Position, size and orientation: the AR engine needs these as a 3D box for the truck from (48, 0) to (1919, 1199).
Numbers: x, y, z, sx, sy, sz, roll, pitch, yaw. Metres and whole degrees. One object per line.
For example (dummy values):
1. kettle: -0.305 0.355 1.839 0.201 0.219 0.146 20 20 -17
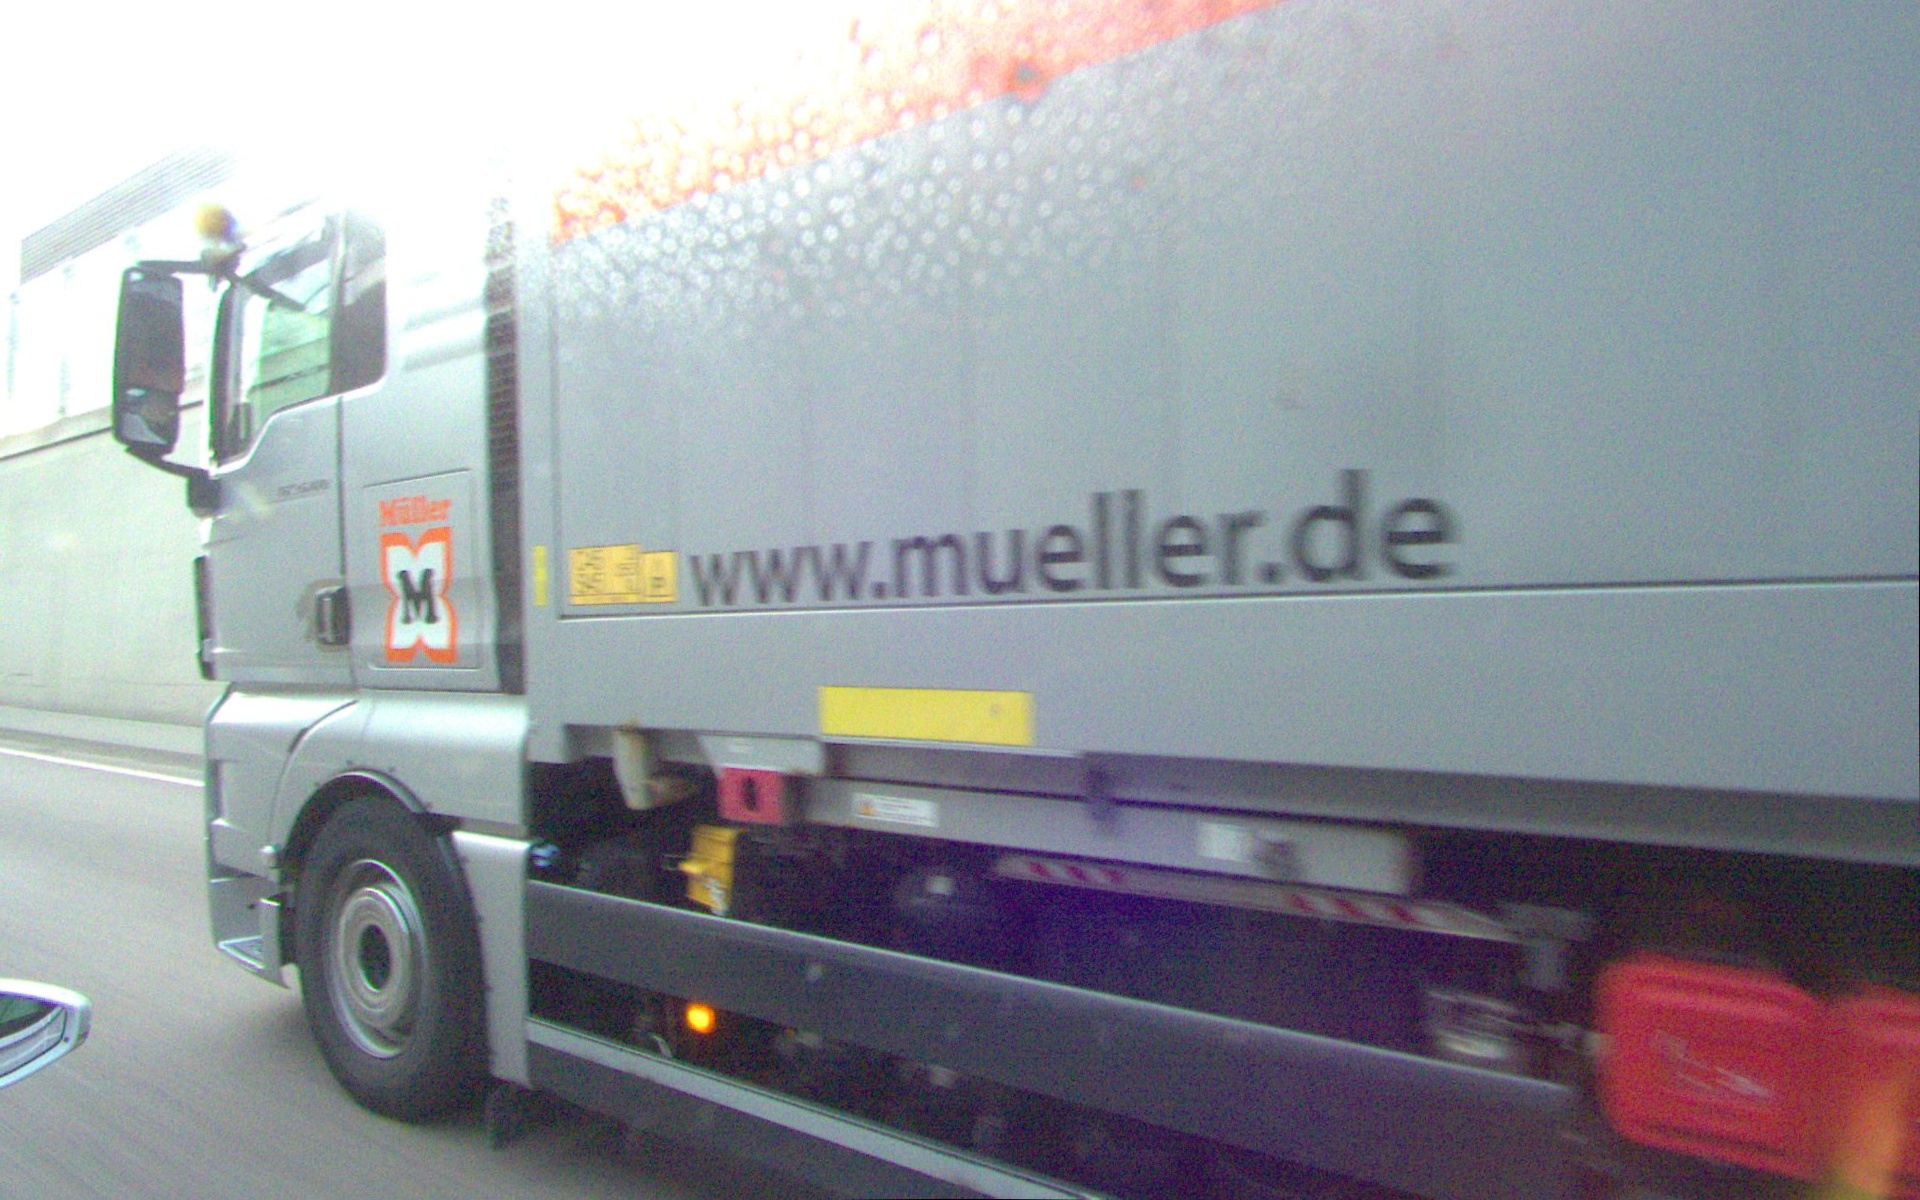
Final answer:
1. truck: 1.622 -0.573 2.222 9.769 3.962 2.885 -1 -3 33
